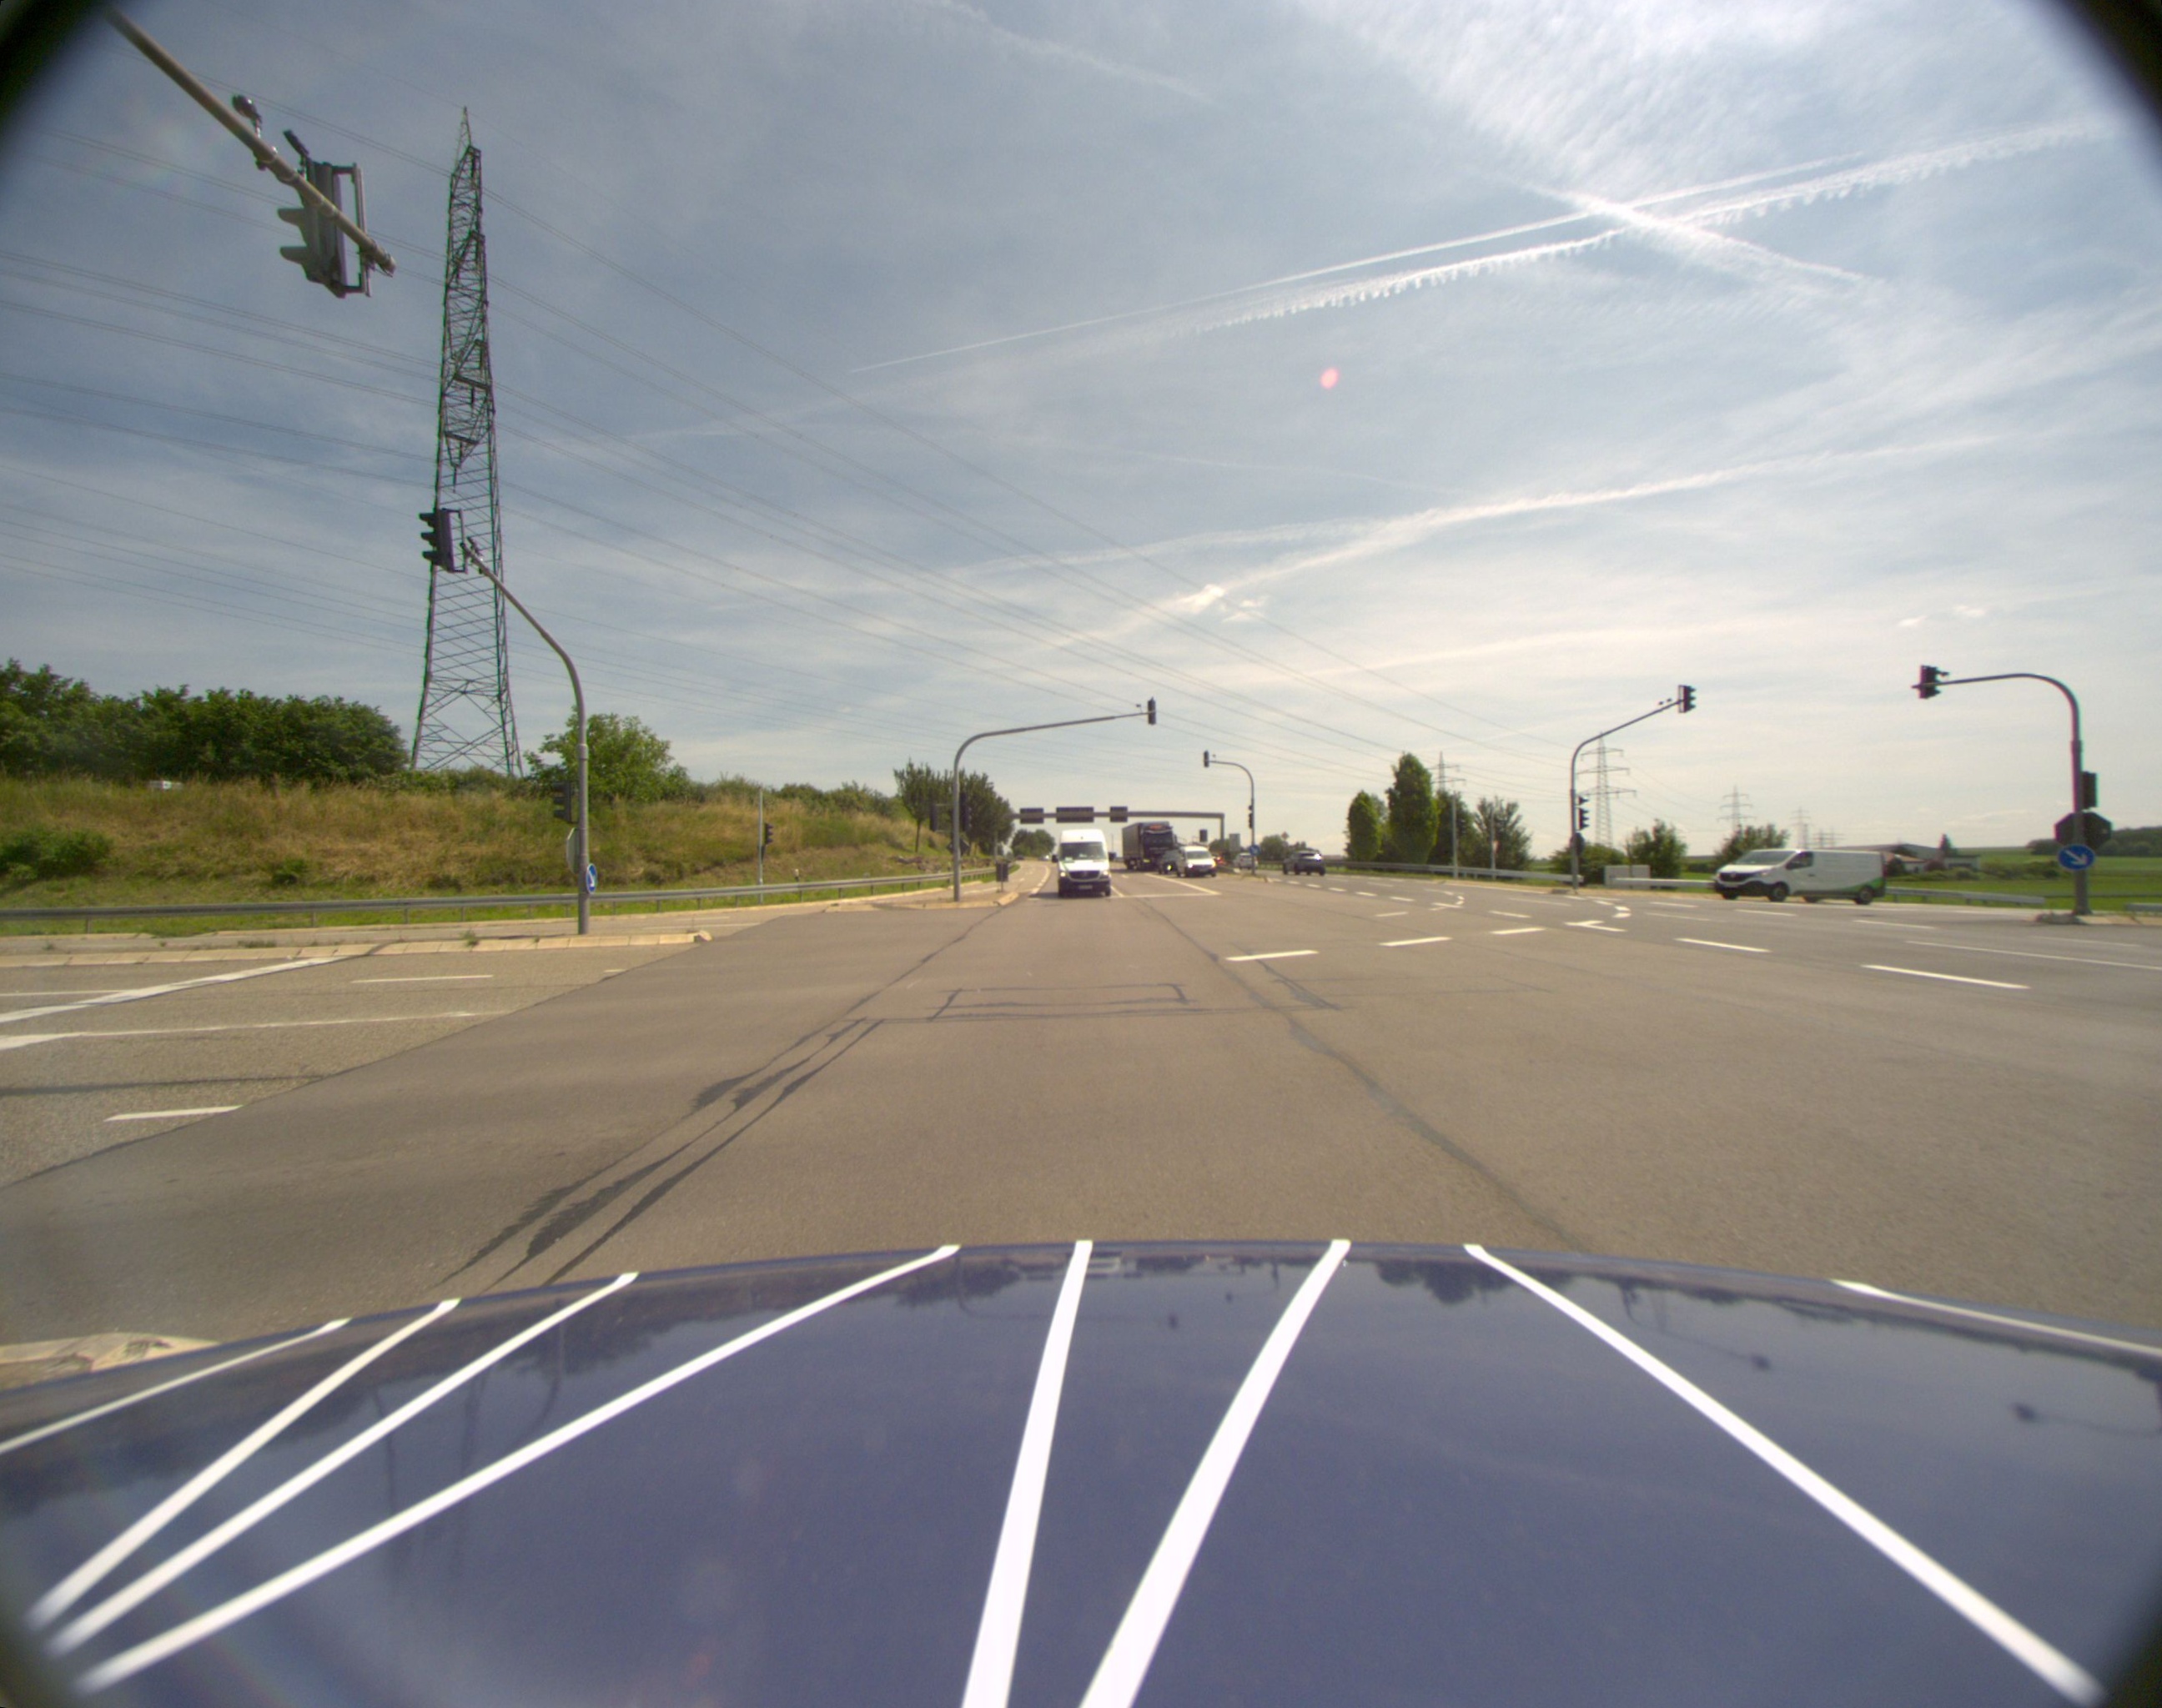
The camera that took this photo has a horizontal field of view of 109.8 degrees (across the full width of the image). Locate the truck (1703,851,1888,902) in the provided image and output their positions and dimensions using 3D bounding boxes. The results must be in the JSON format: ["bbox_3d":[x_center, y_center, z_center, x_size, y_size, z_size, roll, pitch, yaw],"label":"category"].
[{"bbox_3d":[25.730,0.792,27.442,5.282,1.746,1.998,1,1,-9],"label":"truck"}]

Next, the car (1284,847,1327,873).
[{"bbox_3d":[15.096,0.349,51.311,1.648,1.614,4.327,1,1,0],"label":"car"}]

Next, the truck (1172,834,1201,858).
[{"bbox_3d":[13.798,-1.019,99.594,2.807,2.996,5.988,-1,1,-1],"label":"truck"}]

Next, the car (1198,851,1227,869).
[{"bbox_3d":[11.486,0.520,66.579,1.648,1.488,4.065,1,0,-2],"label":"car"}]

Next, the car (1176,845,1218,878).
[{"bbox_3d":[6.886,0.396,45.509,1.772,1.788,4.751,-2,0,0],"label":"car"}]

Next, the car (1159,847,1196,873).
[{"bbox_3d":[6.721,0.397,53.304,1.861,1.648,4.347,-2,0,-1],"label":"car"}]

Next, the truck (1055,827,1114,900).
[{"bbox_3d":[0.055,0.324,29.701,1.999,2.518,5.104,-2,1,-2],"label":"truck"}]

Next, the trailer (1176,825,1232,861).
[{"bbox_3d":[14.161,-1.259,89.686,2.646,3.742,19.791,-1,1,-2],"label":"trailer"}]

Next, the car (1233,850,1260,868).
[{"bbox_3d":[15.120,0.431,69.662,1.648,1.488,3.801,0,1,1],"label":"car"}]

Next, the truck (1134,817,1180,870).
[{"bbox_3d":[6.078,-0.796,61.604,2.791,3.990,5.969,-2,1,-2],"label":"truck"}]

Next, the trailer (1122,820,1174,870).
[{"bbox_3d":[5.809,-0.776,68.394,2.791,3.891,13.782,-2,1,-2],"label":"trailer"}]
